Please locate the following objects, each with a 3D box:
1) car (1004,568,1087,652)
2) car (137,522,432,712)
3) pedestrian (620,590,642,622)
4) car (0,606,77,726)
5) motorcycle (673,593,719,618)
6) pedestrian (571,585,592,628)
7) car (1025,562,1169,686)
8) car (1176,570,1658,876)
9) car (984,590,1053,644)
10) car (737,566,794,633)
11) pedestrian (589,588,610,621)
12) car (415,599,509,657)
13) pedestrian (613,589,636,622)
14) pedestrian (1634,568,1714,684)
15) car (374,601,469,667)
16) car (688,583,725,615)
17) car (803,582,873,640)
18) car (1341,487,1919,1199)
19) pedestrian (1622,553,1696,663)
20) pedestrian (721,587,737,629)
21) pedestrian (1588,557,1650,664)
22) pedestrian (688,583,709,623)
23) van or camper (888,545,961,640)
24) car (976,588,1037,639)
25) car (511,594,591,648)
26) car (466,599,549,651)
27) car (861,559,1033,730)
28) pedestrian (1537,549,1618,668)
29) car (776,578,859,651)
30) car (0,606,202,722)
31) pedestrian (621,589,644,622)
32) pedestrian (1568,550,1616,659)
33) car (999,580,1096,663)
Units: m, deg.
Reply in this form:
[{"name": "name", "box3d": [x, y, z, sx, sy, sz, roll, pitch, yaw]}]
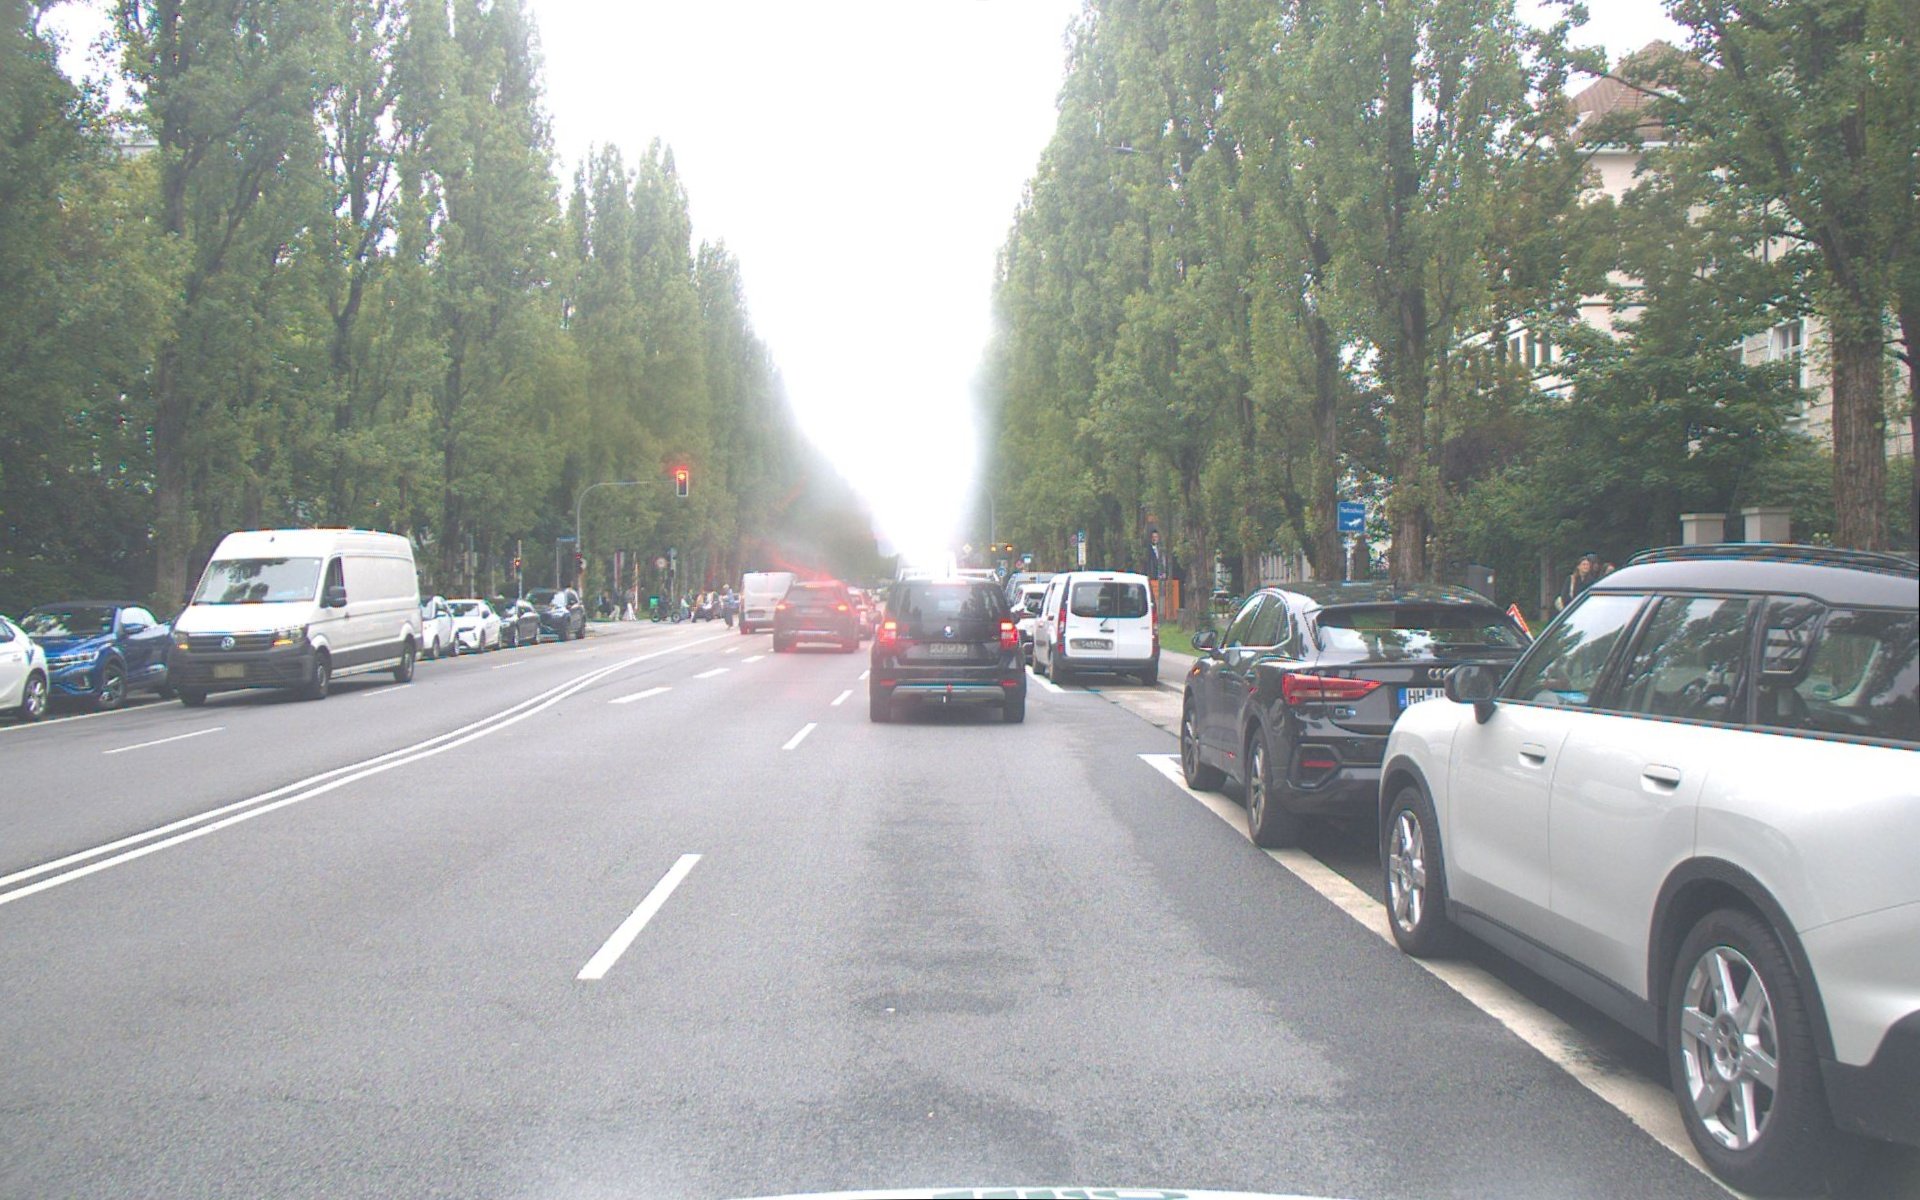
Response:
[{"name": "car", "box3d": [2.040, 0.206, 40.453, 1.700, 1.928, 4.024, -1, 1, -2]}, {"name": "car", "box3d": [-10.438, 0.206, 26.325, 2.184, 2.526, 6.753, -2, 1, -4]}, {"name": "pedestrian", "box3d": [-17.707, 0.306, 89.030, 0.875, 1.684, 0.865, -1, 0, -39]}, {"name": "car", "box3d": [-12.784, 0.878, 20.290, 1.735, 1.477, 4.231, -3, 1, -3]}, {"name": "motorcycle", "box3d": [-14.156, 0.282, 88.766, 2.315, 1.291, 0.930, 0, 0, -1]}, {"name": "pedestrian", "box3d": [-14.447, 0.248, 63.188, 0.647, 1.604, 0.530, -1, 0, -1]}, {"name": "car", "box3d": [2.219, 0.348, 27.871, 1.814, 1.914, 4.165, -1, 1, -4]}, {"name": "car", "box3d": [2.678, 0.612, 10.845, 1.842, 1.567, 4.463, -1, 1, -1]}, {"name": "car", "box3d": [1.600, 0.447, 46.209, 1.700, 1.411, 3.561, -1, 1, -2]}, {"name": "car", "box3d": [-6.458, -0.037, 55.189, 1.746, 2.148, 4.021, 0, 0, -5]}, {"name": "pedestrian", "box3d": [-19.329, 0.236, 88.693, 0.861, 1.795, 0.879, -1, 0, 8]}, {"name": "car", "box3d": [-13.564, 0.733, 45.246, 1.592, 1.413, 4.162, -3, 1, -5]}, {"name": "pedestrian", "box3d": [-17.809, 0.292, 87.841, 0.875, 1.684, 0.865, -1, 0, -39]}, {"name": "pedestrian", "box3d": [11.749, 0.413, 27.228, 0.889, 1.831, 0.825, -2, 3, -23]}, {"name": "car", "box3d": [-13.361, 0.808, 41.202, 1.399, 1.472, 2.965, -4, 1, -2]}, {"name": "car", "box3d": [-14.872, -0.069, 97.089, 1.654, 1.814, 3.774, -1, 1, -2]}, {"name": "car", "box3d": [-3.616, 0.296, 49.484, 1.954, 1.588, 3.998, -1, 1, -3]}, {"name": "car", "box3d": [2.741, 0.584, 5.615, 1.707, 1.704, 4.578, -1, 1, -2]}, {"name": "pedestrian", "box3d": [11.749, 0.131, 27.807, 0.787, 1.813, 0.816, -1, 0, -19]}, {"name": "pedestrian", "box3d": [-8.780, 0.295, 62.915, 0.517, 1.604, 0.662, -1, 0, -1]}, {"name": "pedestrian", "box3d": [10.132, 0.160, 25.456, 0.556, 1.606, 0.867, -1, 0, -2]}, {"name": "pedestrian", "box3d": [-13.514, 0.136, 85.418, 0.867, 2.049, 1.013, -1, 0, 1]}, {"name": "van or camper", "box3d": [-1.073, -0.239, 47.722, 1.936, 2.593, 4.022, -1, 1, -3]}, {"name": "car", "box3d": [1.428, 0.381, 51.711, 1.700, 1.501, 3.561, -1, 1, -2]}, {"name": "car", "box3d": [-13.947, 0.680, 56.646, 1.813, 1.683, 4.692, -3, 1, -4]}, {"name": "car", "box3d": [-13.824, 0.735, 50.700, 1.591, 1.413, 4.163, -3, 1, -4]}, {"name": "car", "box3d": [-0.191, 0.465, 19.846, 1.818, 1.801, 3.999, 1, 0, -2]}, {"name": "pedestrian", "box3d": [9.416, 0.127, 25.241, 0.836, 1.747, 0.867, -2, 0, -2]}, {"name": "car", "box3d": [-3.356, 0.294, 39.596, 1.745, 1.648, 4.024, 0, 1, -2]}, {"name": "car", "box3d": [-12.794, 0.891, 24.368, 1.675, 1.476, 3.584, -3, 1, -3]}, {"name": "pedestrian", "box3d": [-17.278, 0.294, 87.145, 0.875, 1.684, 0.865, -1, 0, -39]}, {"name": "pedestrian", "box3d": [11.097, 0.074, 29.054, 0.479, 1.895, 0.635, -1, 0, -19]}, {"name": "car", "box3d": [1.802, 0.405, 35.068, 1.706, 1.620, 4.210, -1, 1, -2]}]
